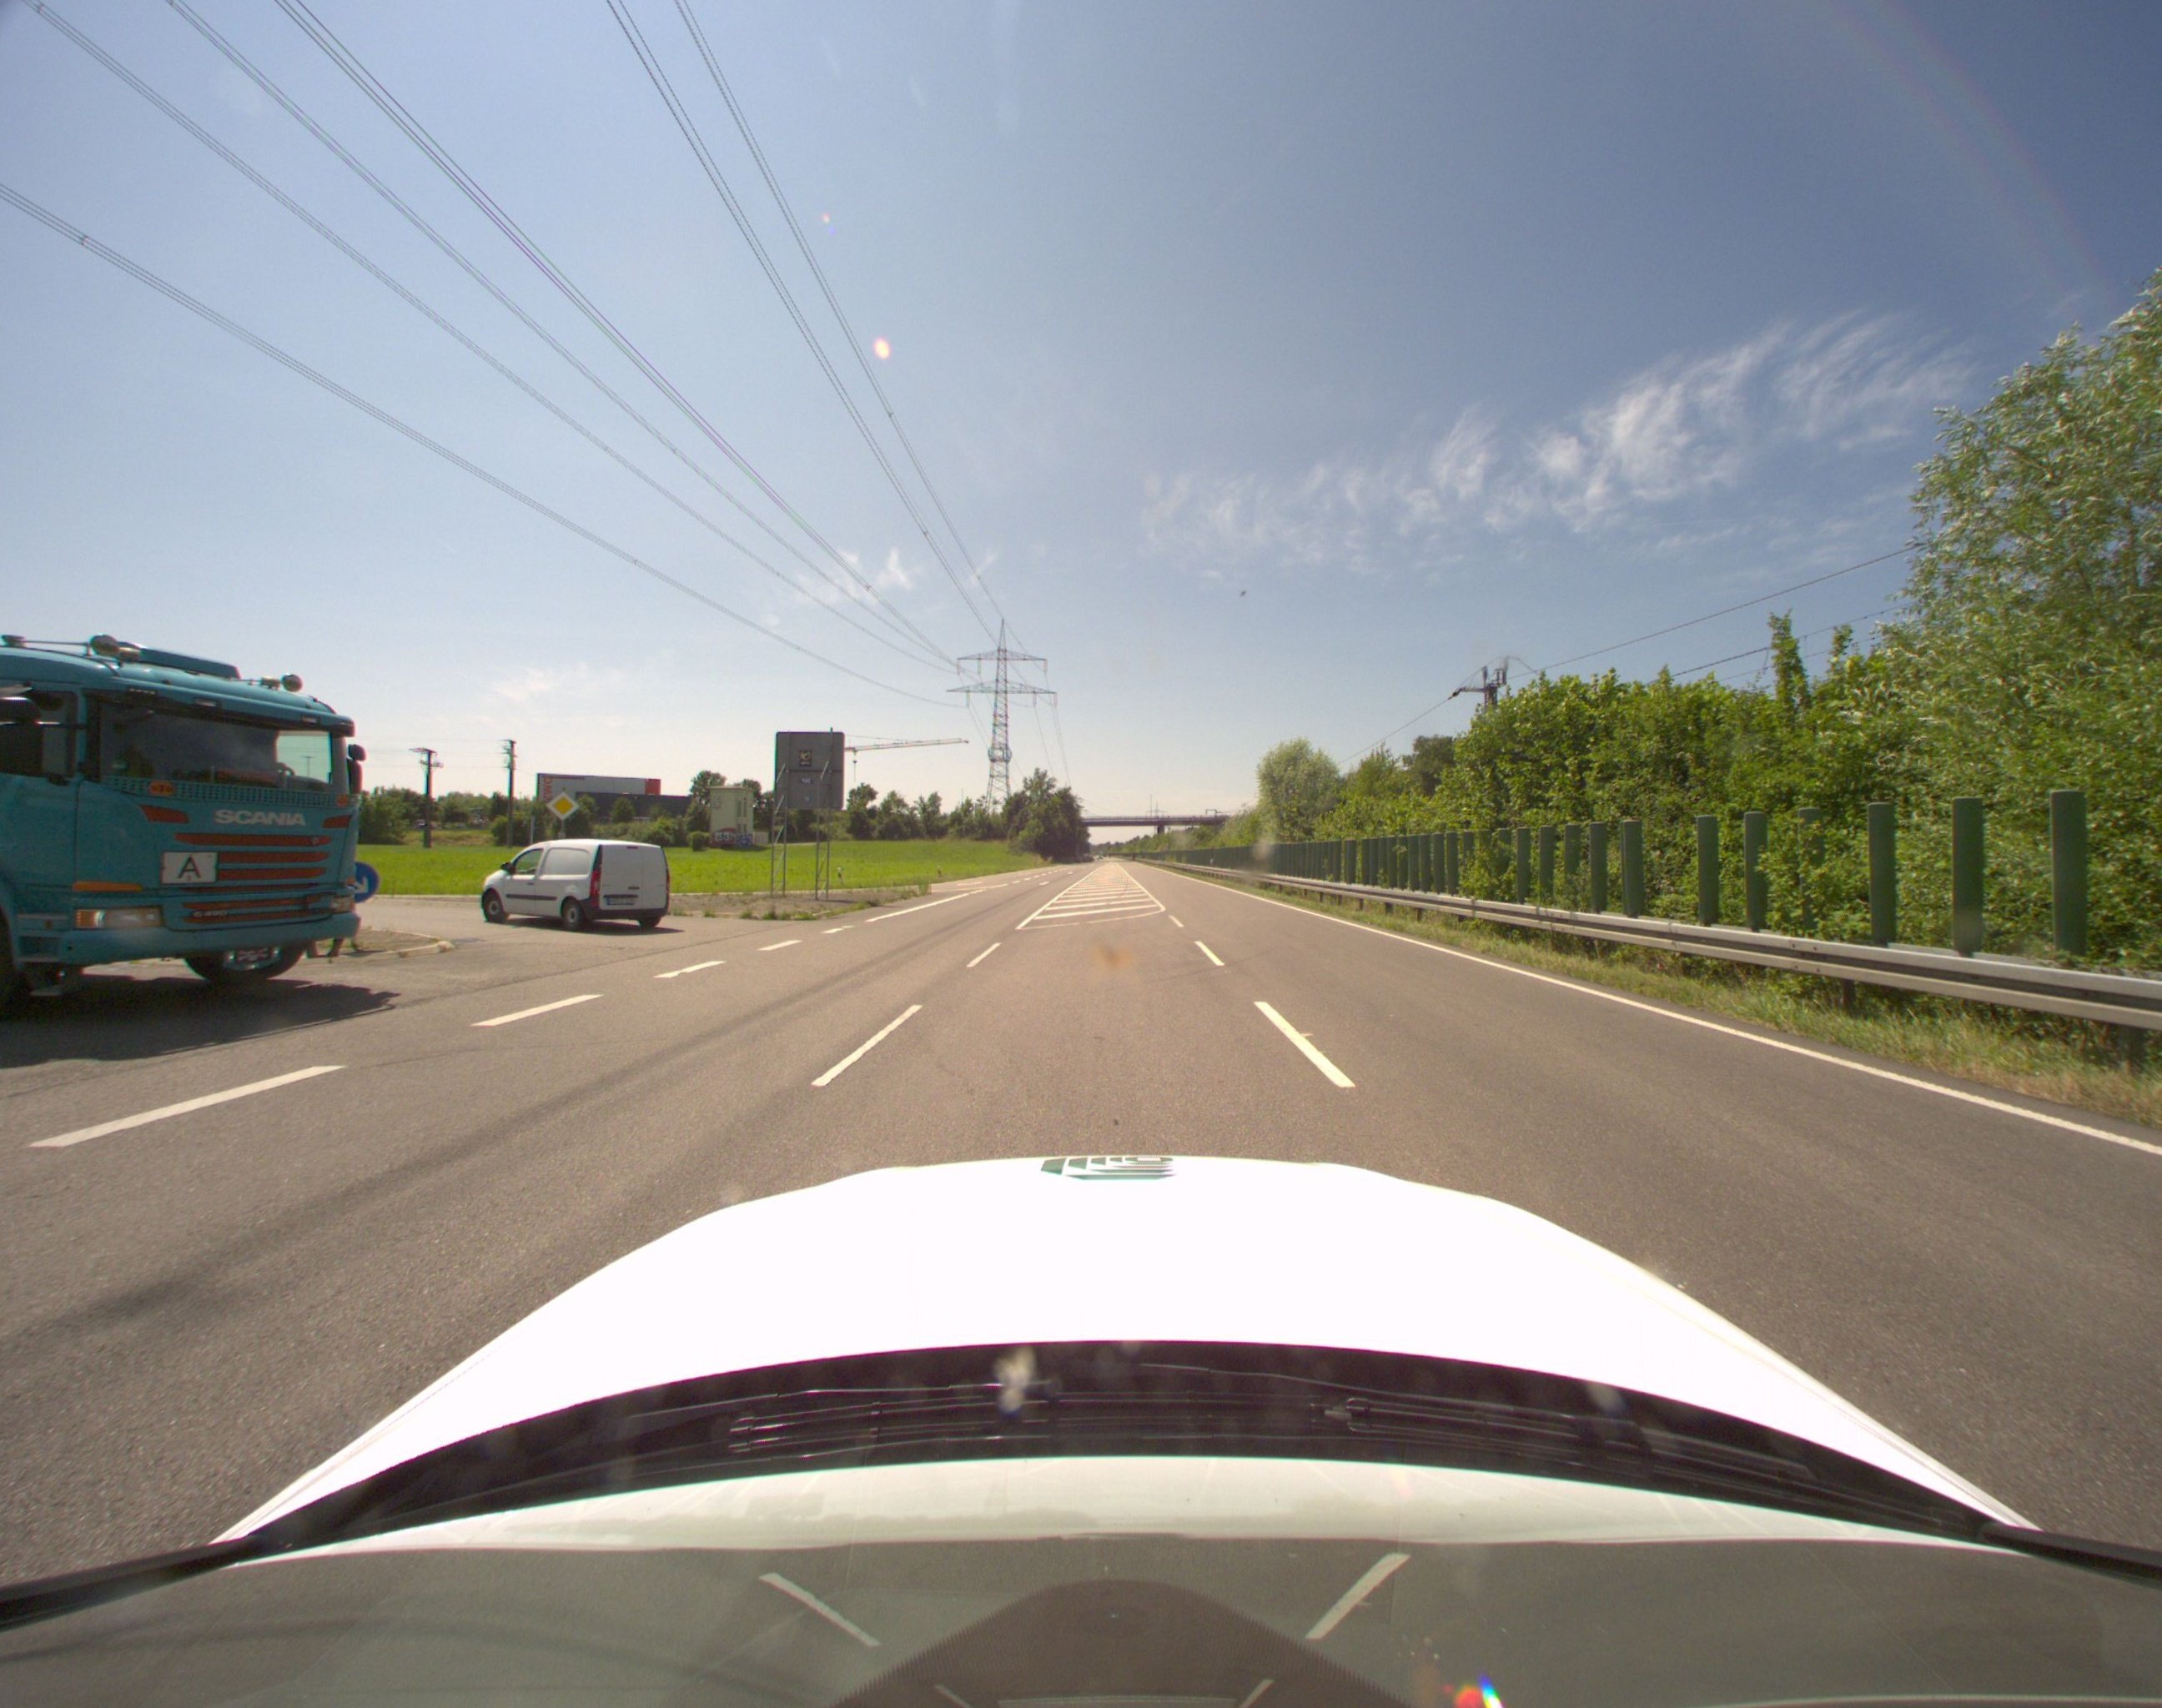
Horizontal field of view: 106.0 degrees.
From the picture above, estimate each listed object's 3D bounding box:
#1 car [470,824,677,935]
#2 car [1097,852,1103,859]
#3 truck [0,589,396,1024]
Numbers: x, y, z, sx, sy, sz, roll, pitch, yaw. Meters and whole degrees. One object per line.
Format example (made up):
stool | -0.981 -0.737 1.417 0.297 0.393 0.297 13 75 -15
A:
car | -10.525 0.440 16.881 3.950 1.970 1.844 2 1 27
car | 6.102 0.427 257.933 1.986 2.013 4.001 1 0 1
truck | -12.086 -0.535 8.518 7.868 3.734 2.501 2 0 4
